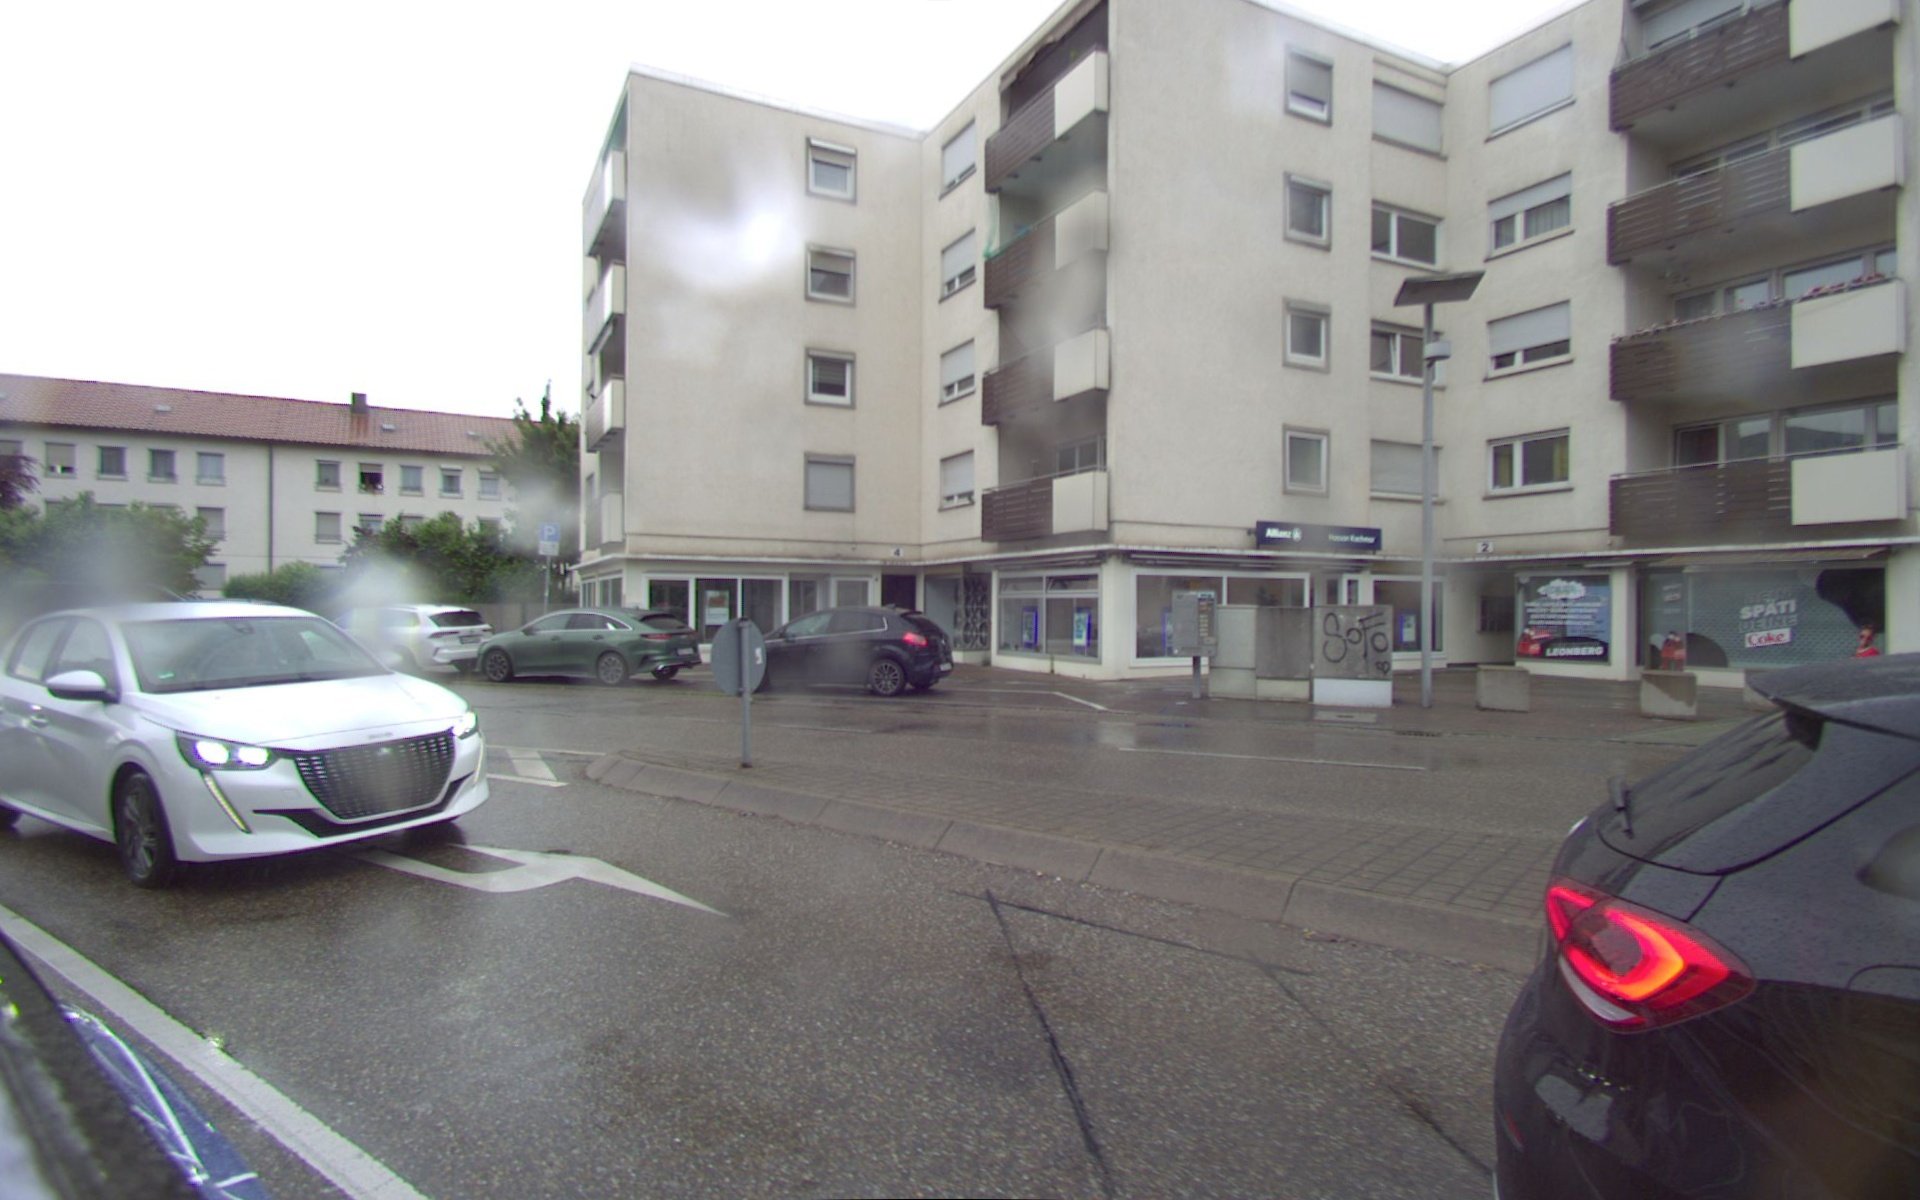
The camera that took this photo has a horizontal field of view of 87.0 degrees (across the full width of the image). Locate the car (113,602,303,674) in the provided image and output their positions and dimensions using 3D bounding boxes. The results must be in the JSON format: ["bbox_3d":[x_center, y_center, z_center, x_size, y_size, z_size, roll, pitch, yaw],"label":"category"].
[{"bbox_3d":[-17.208,0.829,23.176,3.850,1.517,1.624,0,-1,19],"label":"car"}]

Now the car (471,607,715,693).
[{"bbox_3d":[-7.046,0.893,19.506,4.239,1.445,1.827,0,1,18],"label":"car"}]

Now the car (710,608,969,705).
[{"bbox_3d":[-2.081,0.906,17.682,4.155,1.471,1.826,1,1,19],"label":"car"}]

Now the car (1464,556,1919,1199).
[{"bbox_3d":[2.864,0.651,0.869,4.089,1.492,1.647,-1,0,39],"label":"car"}]

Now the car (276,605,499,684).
[{"bbox_3d":[-11.997,0.882,21.226,4.312,1.511,1.627,0,-1,19],"label":"car"}]

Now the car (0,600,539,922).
[{"bbox_3d":[-4.614,0.740,6.327,3.883,1.420,1.726,0,1,32],"label":"car"}]
